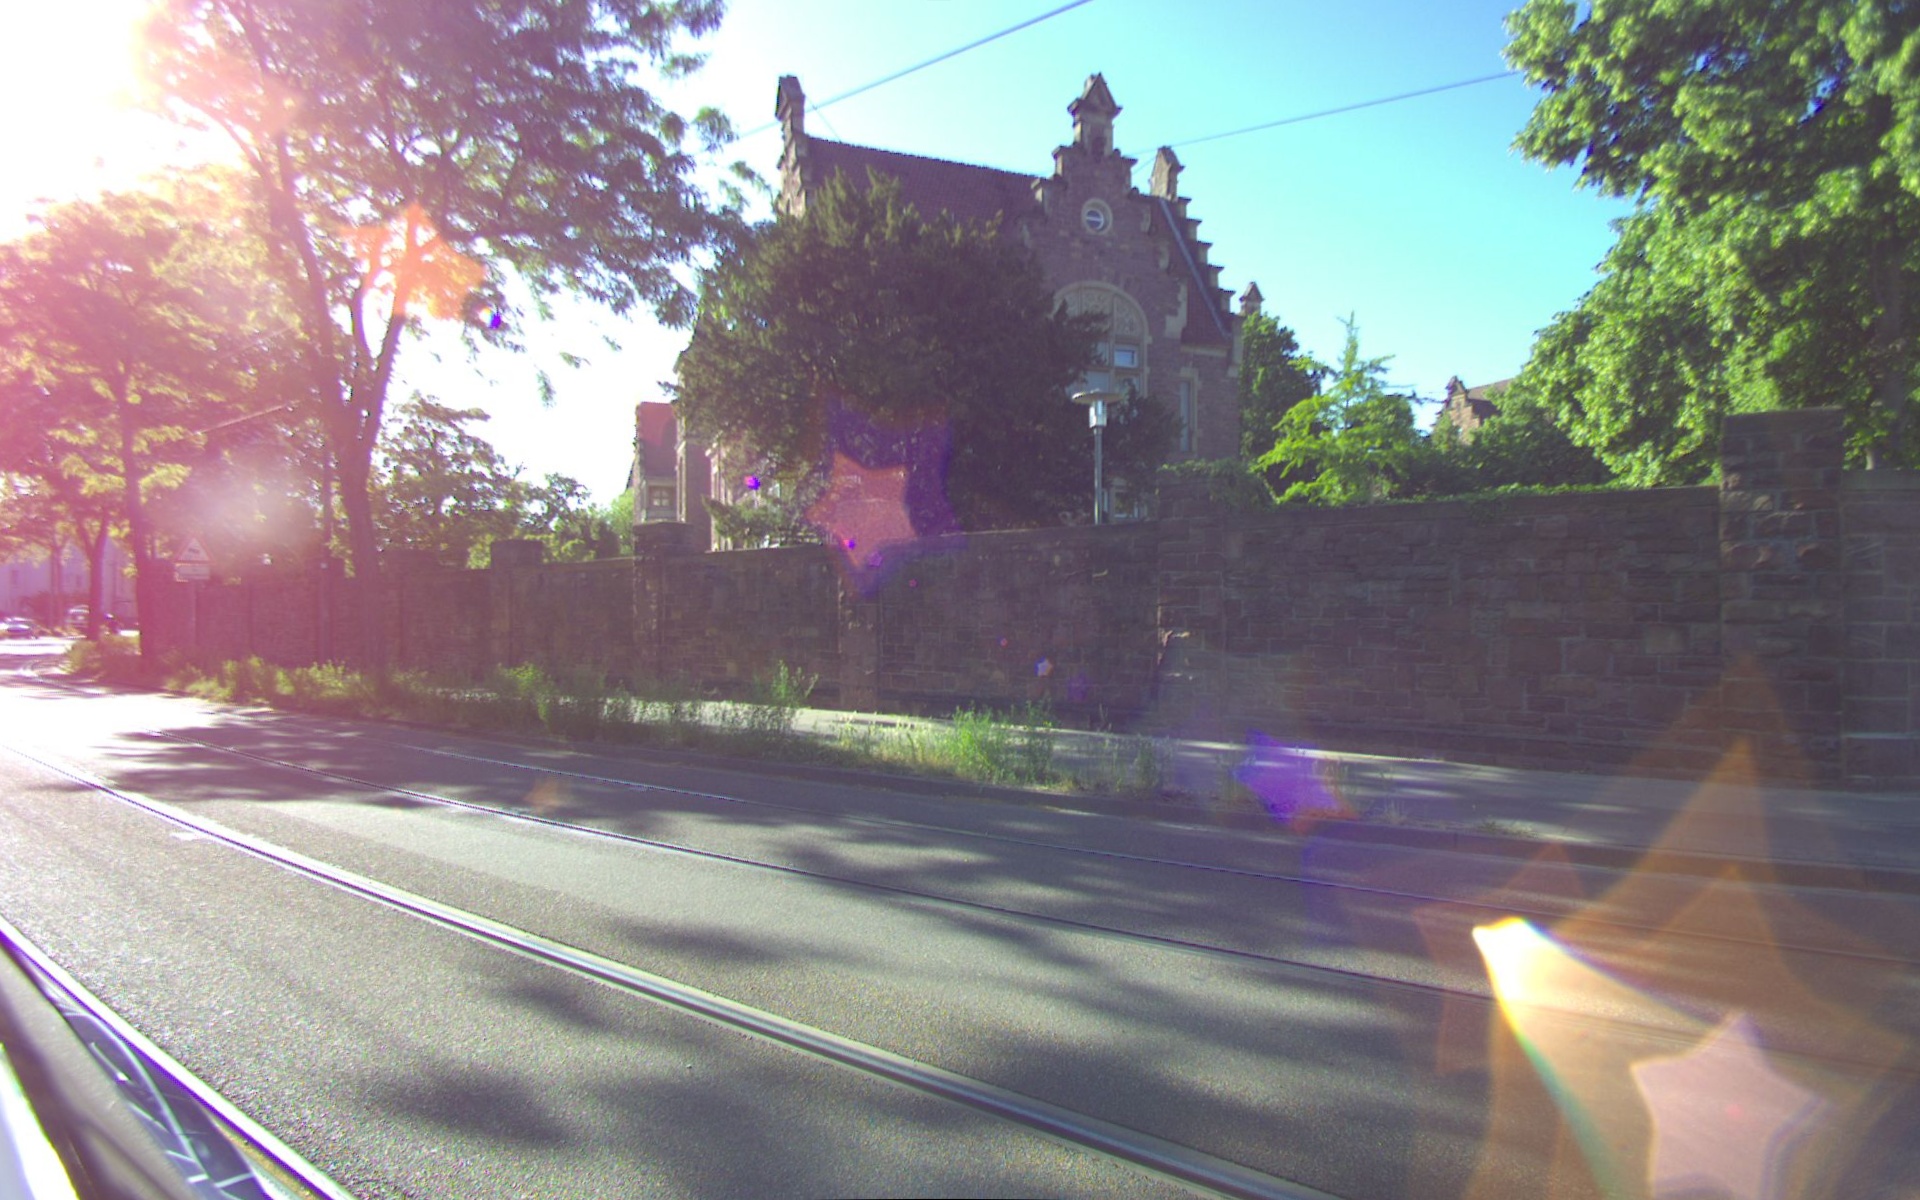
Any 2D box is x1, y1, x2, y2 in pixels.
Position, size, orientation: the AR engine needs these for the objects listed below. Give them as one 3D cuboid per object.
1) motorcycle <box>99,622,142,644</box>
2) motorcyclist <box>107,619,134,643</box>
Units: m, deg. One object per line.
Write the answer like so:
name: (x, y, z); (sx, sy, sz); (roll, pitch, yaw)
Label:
motorcycle: (-48.121, 1.879, 58.047); (0.899, 1.162, 2.435); (0, -1, -14)
motorcyclist: (-48.130, 1.778, 58.040); (0.877, 1.393, 0.911); (0, -1, -13)
